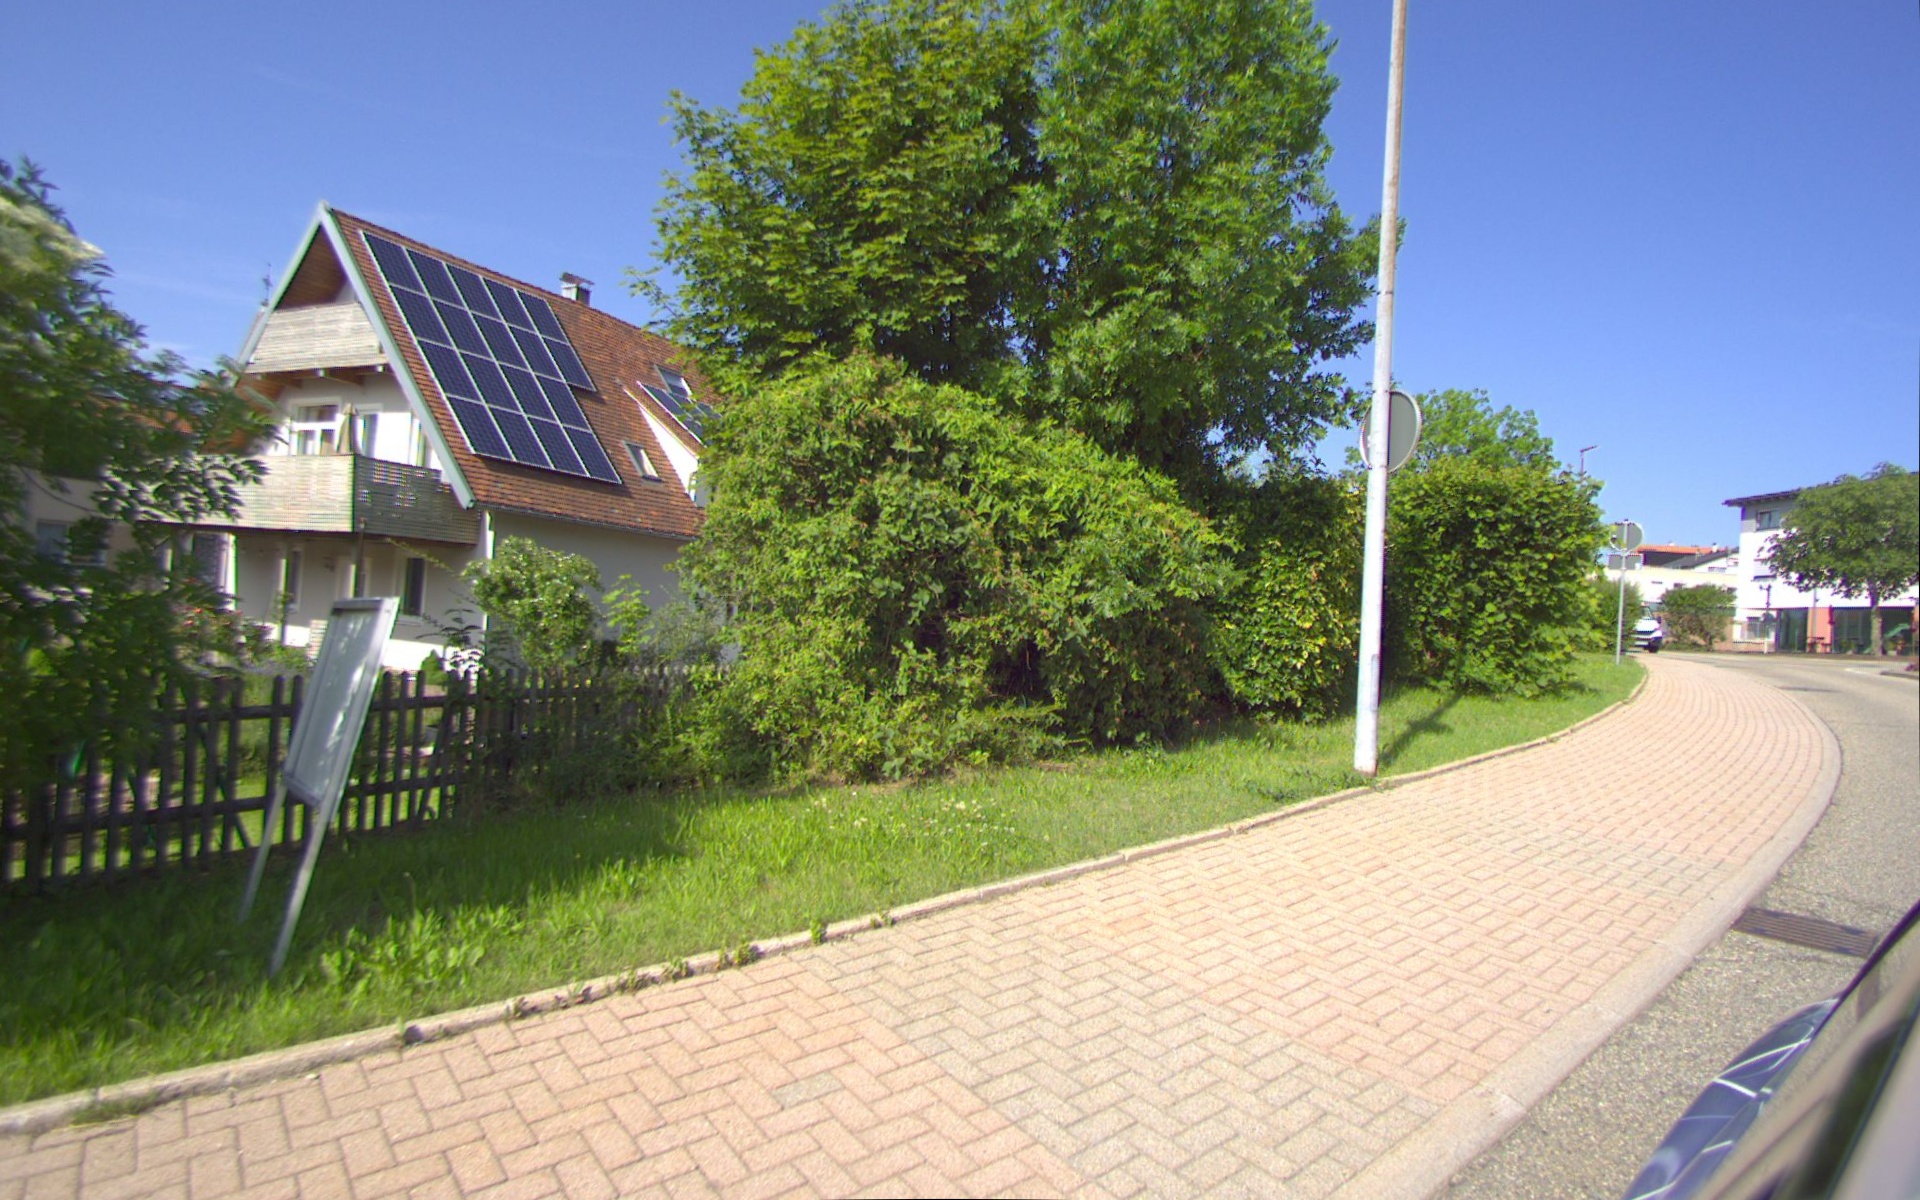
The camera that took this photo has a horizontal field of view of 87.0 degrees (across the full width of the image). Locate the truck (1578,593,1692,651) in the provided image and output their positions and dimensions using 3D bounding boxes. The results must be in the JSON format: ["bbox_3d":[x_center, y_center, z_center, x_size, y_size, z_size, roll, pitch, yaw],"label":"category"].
[{"bbox_3d":[29.945,1.072,45.162,1.970,2.373,6.465,-1,-3,13],"label":"truck"}]
